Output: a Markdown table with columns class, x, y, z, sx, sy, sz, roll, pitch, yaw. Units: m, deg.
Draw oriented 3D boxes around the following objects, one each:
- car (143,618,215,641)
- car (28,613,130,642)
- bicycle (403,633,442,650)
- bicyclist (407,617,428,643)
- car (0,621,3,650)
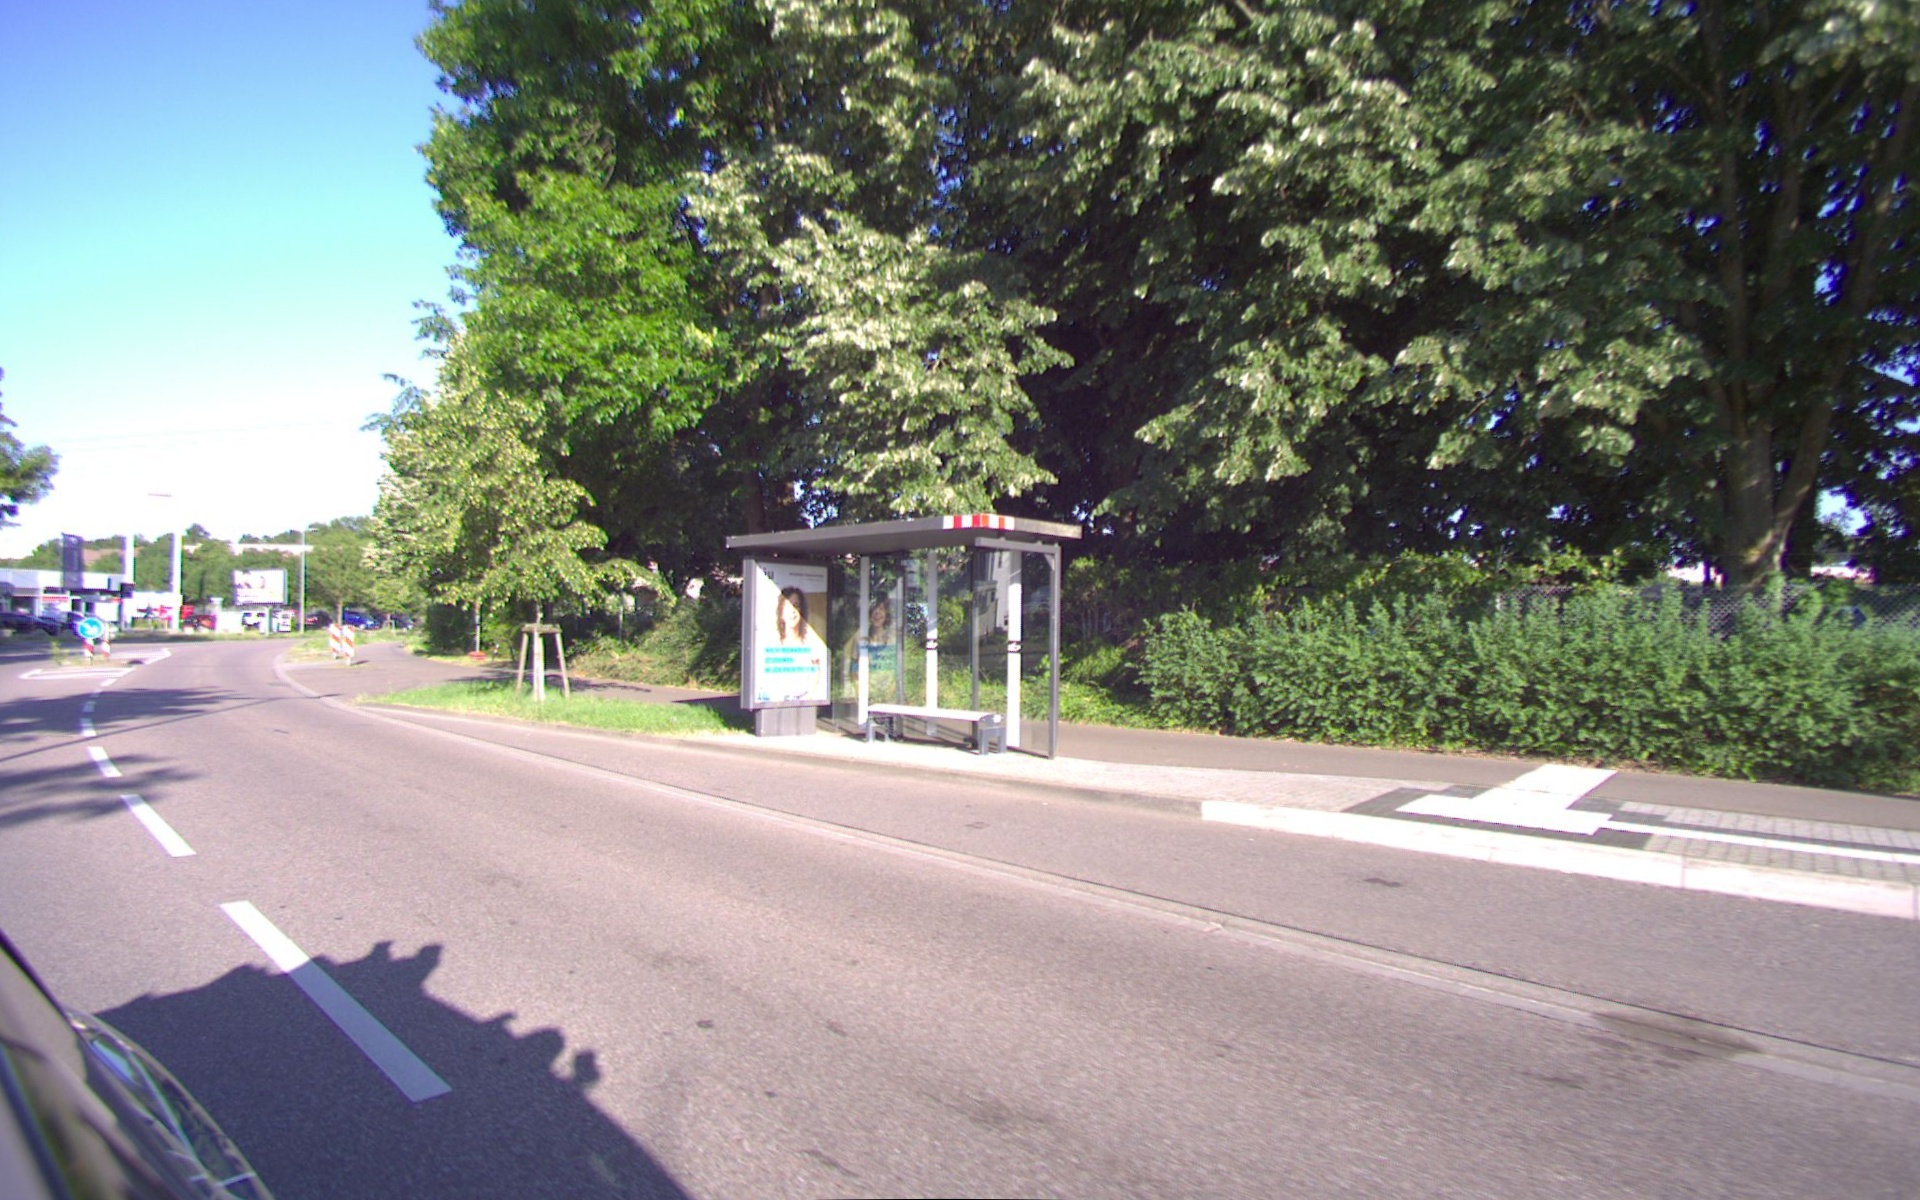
| class | x | y | z | sx | sy | sz | roll | pitch | yaw |
| --- | --- | --- | --- | --- | --- | --- | --- | --- | --- |
| car | -69.559 | 2.619 | 90.125 | 4.787 | 2.029 | 2.296 | 0 | -2 | 6 |
| car | -65.832 | 2.078 | 75.704 | 5.204 | 2.029 | 2.410 | 1 | -2 | -10 |
| bicycle | -36.154 | 2.770 | 68.097 | 0.922 | 1.109 | 2.138 | -1 | -3 | 33 |
| bicyclist | -36.399 | 2.017 | 67.877 | 0.910 | 1.766 | 0.943 | -1 | -3 | 37 |
| car | -71.681 | 2.498 | 71.923 | 4.768 | 2.029 | 2.304 | 1 | -2 | -10 |
